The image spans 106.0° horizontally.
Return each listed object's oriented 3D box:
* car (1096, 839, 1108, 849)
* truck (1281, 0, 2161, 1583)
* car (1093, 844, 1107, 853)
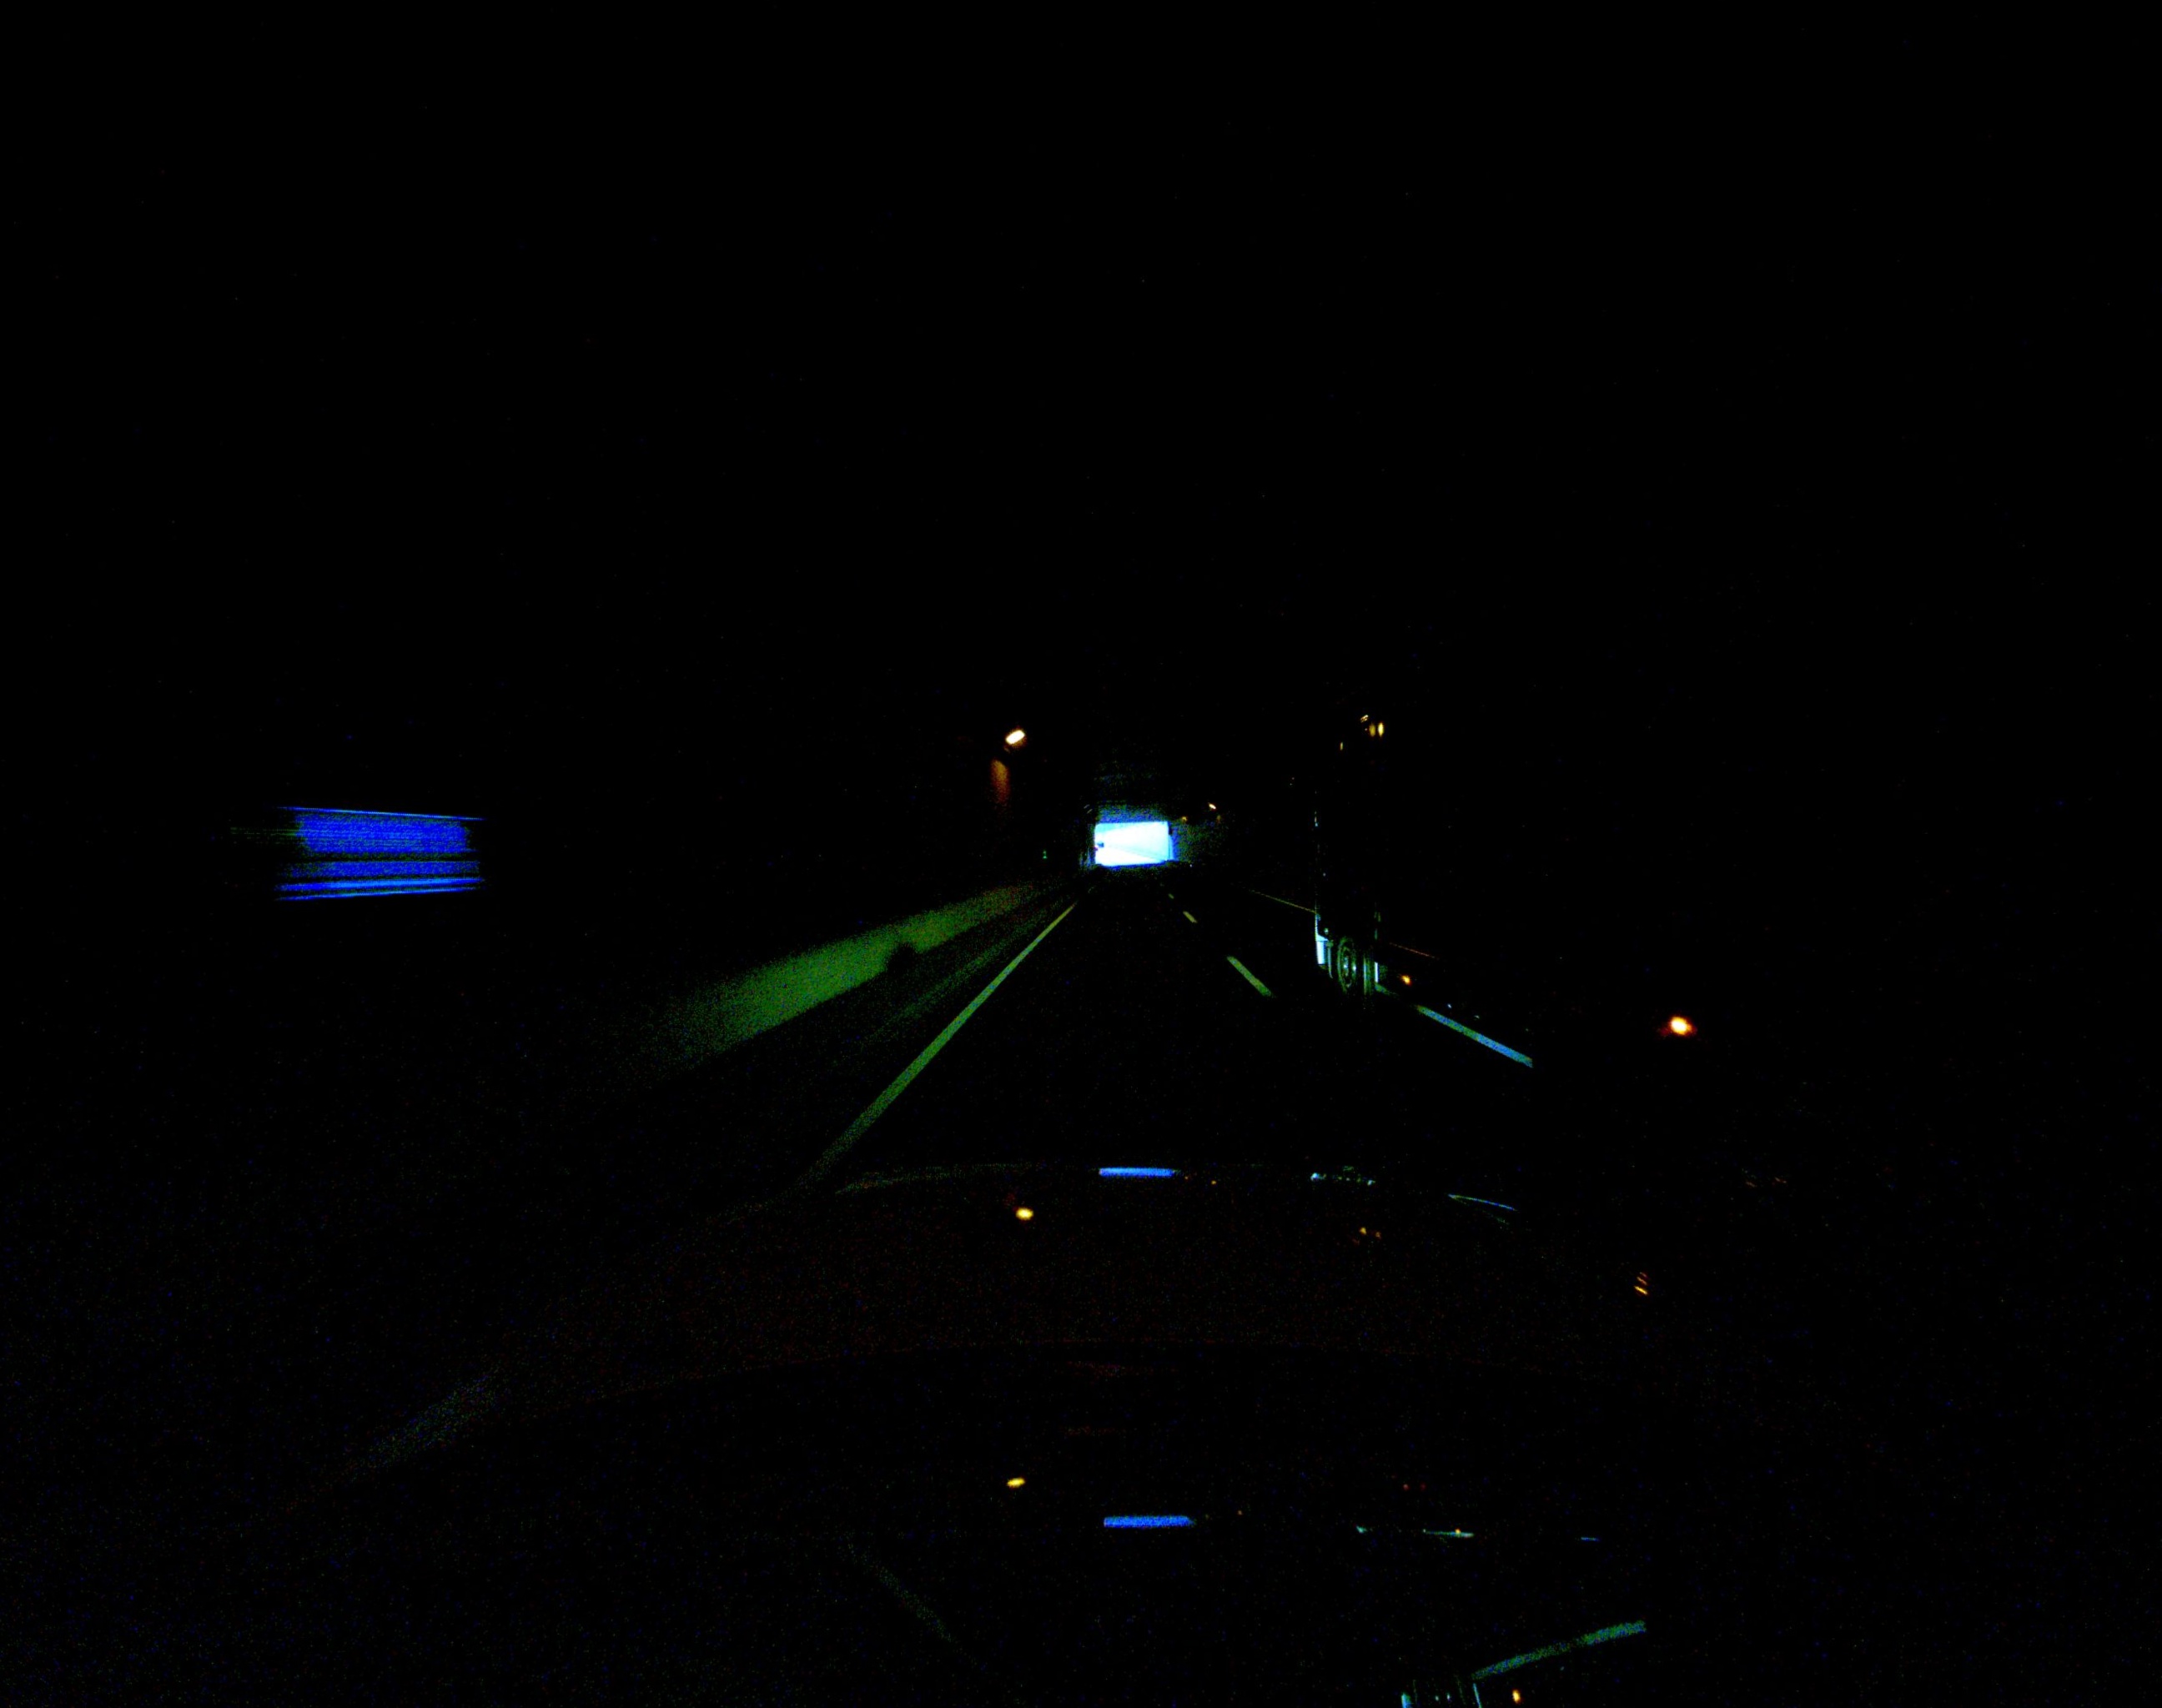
[{"bbox_3d":[4.055,-1.925,155.913,1.867,1.732,3.992,-2,0,-6],"label":"car"},{"bbox_3d":[3.522,-0.620,3.925,2.878,3.913,9.913,-2,0,2],"label":"truck"},{"bbox_3d":[3.370,-0.945,142.148,1.839,1.388,3.990,-2,0,-7],"label":"car"}]
